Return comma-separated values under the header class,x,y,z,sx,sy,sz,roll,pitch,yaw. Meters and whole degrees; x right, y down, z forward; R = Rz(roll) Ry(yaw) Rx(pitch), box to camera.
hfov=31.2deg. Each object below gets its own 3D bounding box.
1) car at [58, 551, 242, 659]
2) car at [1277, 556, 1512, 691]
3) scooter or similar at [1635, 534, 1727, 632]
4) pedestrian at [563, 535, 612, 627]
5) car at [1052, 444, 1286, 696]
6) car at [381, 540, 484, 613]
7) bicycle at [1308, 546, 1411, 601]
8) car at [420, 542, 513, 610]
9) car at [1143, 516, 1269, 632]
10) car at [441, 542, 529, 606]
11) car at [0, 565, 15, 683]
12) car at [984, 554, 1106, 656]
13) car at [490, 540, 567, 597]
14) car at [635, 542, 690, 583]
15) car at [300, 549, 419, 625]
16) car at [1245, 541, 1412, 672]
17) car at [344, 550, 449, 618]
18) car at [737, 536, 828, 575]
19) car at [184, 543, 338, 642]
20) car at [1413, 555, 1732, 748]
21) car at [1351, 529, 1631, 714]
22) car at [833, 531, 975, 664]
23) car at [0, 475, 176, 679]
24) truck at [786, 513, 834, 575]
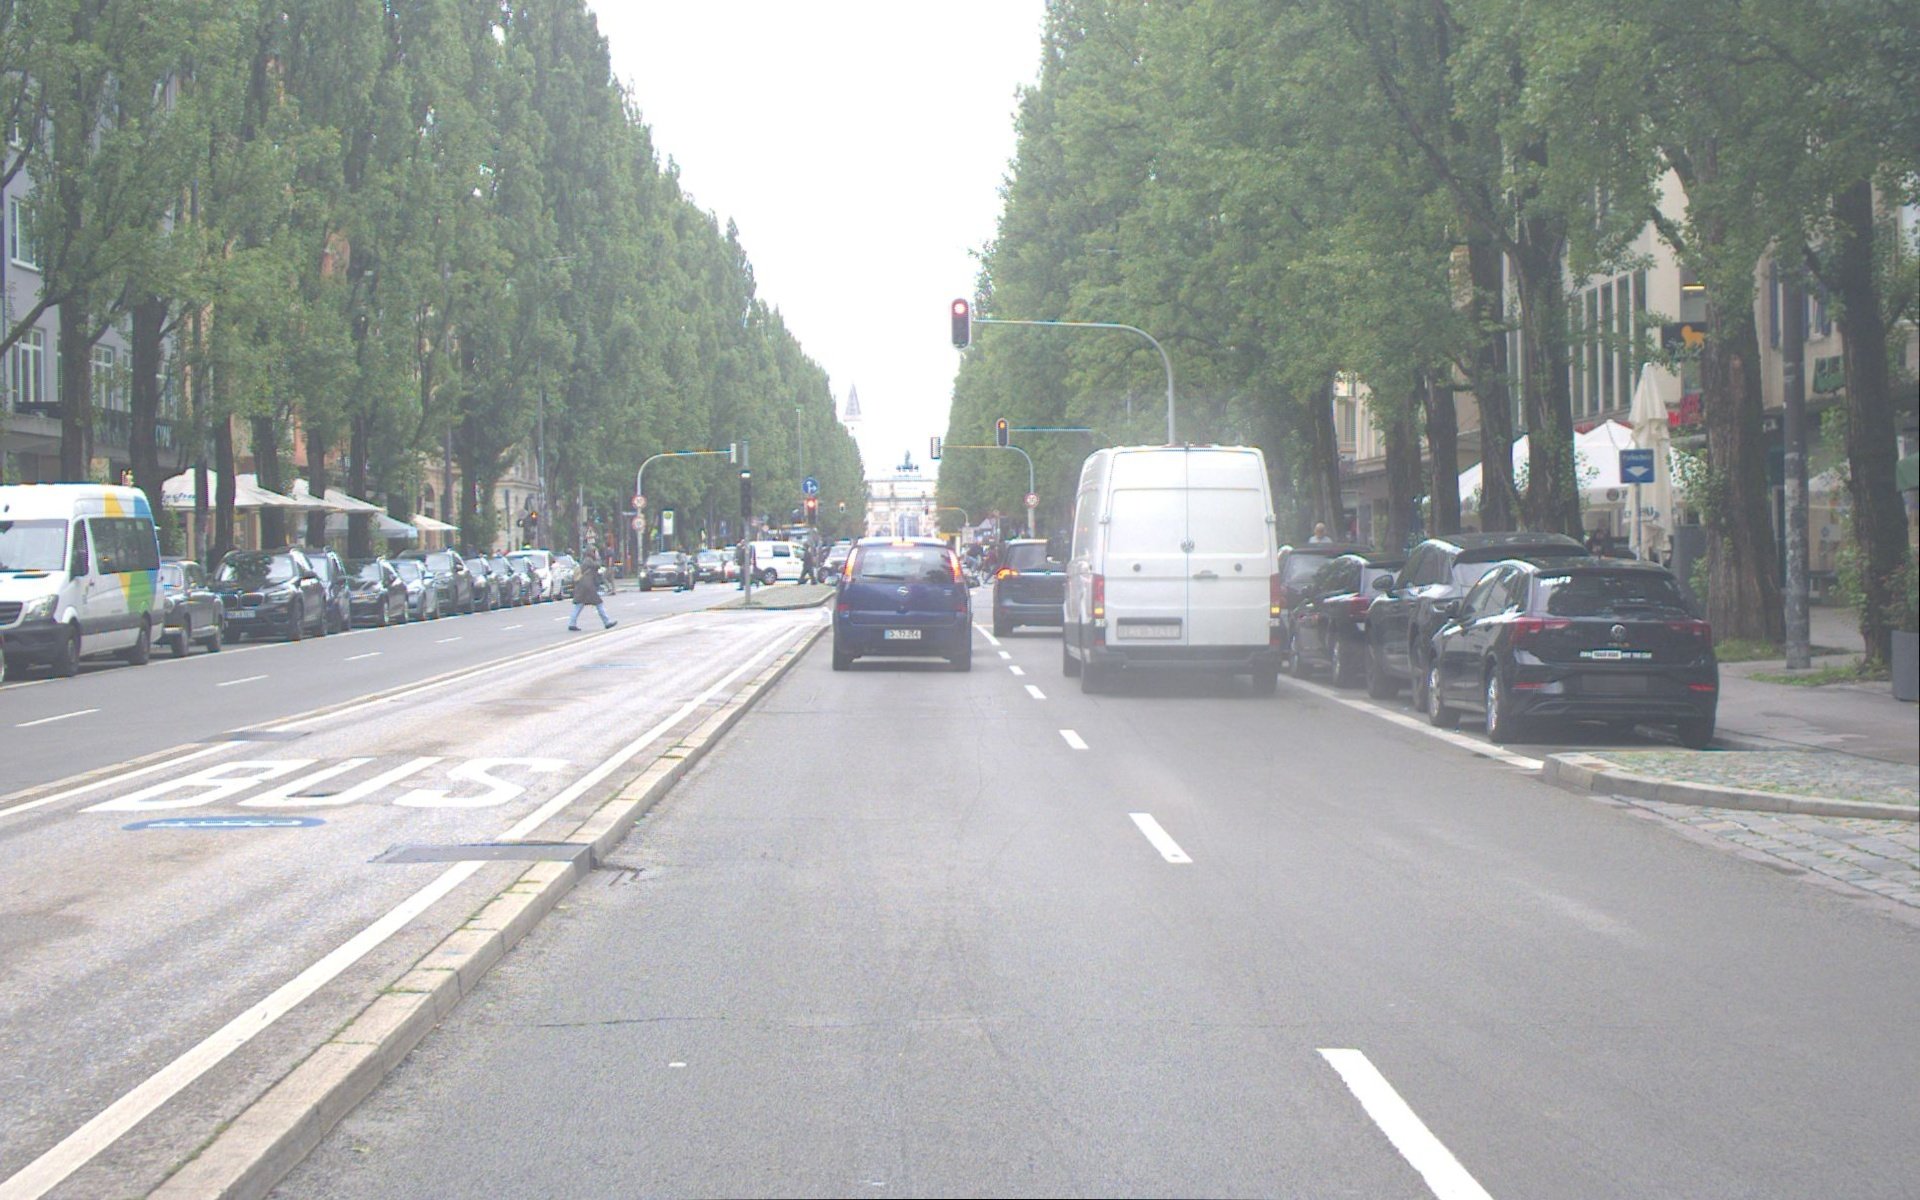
class,x,y,z,sx,sy,sz,roll,pitch,yaw
car,-12.698,0.043,54.150,1.866,1.546,4.414,-2,1,-1
car,4.742,0.217,38.094,1.709,1.388,4.344,0,1,-5
scooter or similar,10.799,-0.276,51.573,0.636,1.371,2.495,-2,2,-4
pedestrian,-6.857,-0.351,63.344,0.859,1.678,0.627,-1,1,-4
car,2.157,-0.361,37.398,2.063,2.484,6.731,0,1,-1
car,-12.884,-0.607,84.176,1.866,1.660,4.401,-2,1,-1
bicycle,9.089,-0.601,78.270,2.227,1.200,0.626,-1,1,-2
car,-13.014,-0.651,90.853,1.866,1.660,4.120,-2,1,-1
car,4.258,-0.478,60.166,1.787,1.939,4.731,0,1,-1
car,-13.190,-0.744,95.650,1.866,1.660,4.120,-2,1,-1
car,-12.456,0.354,40.099,1.737,1.414,4.149,-2,1,-1
car,1.398,0.056,57.827,1.896,1.616,4.000,0,1,-1
car,-13.331,-0.998,106.436,1.866,1.660,4.120,-2,1,-1
car,-11.200,-1.431,129.771,1.697,1.457,4.713,-2,1,-1
car,-12.806,-0.302,73.508,1.798,1.483,4.351,-2,1,-1
car,4.464,0.055,41.973,1.592,1.513,2.730,1,1,-3
car,-12.858,-0.386,78.703,1.733,1.421,4.144,-2,1,-1
car,-7.375,-1.863,142.768,3.353,1.555,1.741,-1,1,-24
car,-12.613,-0.167,62.290,1.866,1.658,4.611,-2,1,-1
car,4.842,0.361,27.680,1.694,1.411,3.952,0,1,-3
car,4.986,0.162,32.859,1.803,1.632,4.448,0,1,-2
car,-0.687,-0.064,42.579,1.671,1.563,4.000,0,1,-1
car,-12.522,-0.332,47.045,2.005,2.559,6.912,-2,1,-1
truck,-8.275,-3.098,190.051,2.383,3.335,7.111,-1,1,-1
